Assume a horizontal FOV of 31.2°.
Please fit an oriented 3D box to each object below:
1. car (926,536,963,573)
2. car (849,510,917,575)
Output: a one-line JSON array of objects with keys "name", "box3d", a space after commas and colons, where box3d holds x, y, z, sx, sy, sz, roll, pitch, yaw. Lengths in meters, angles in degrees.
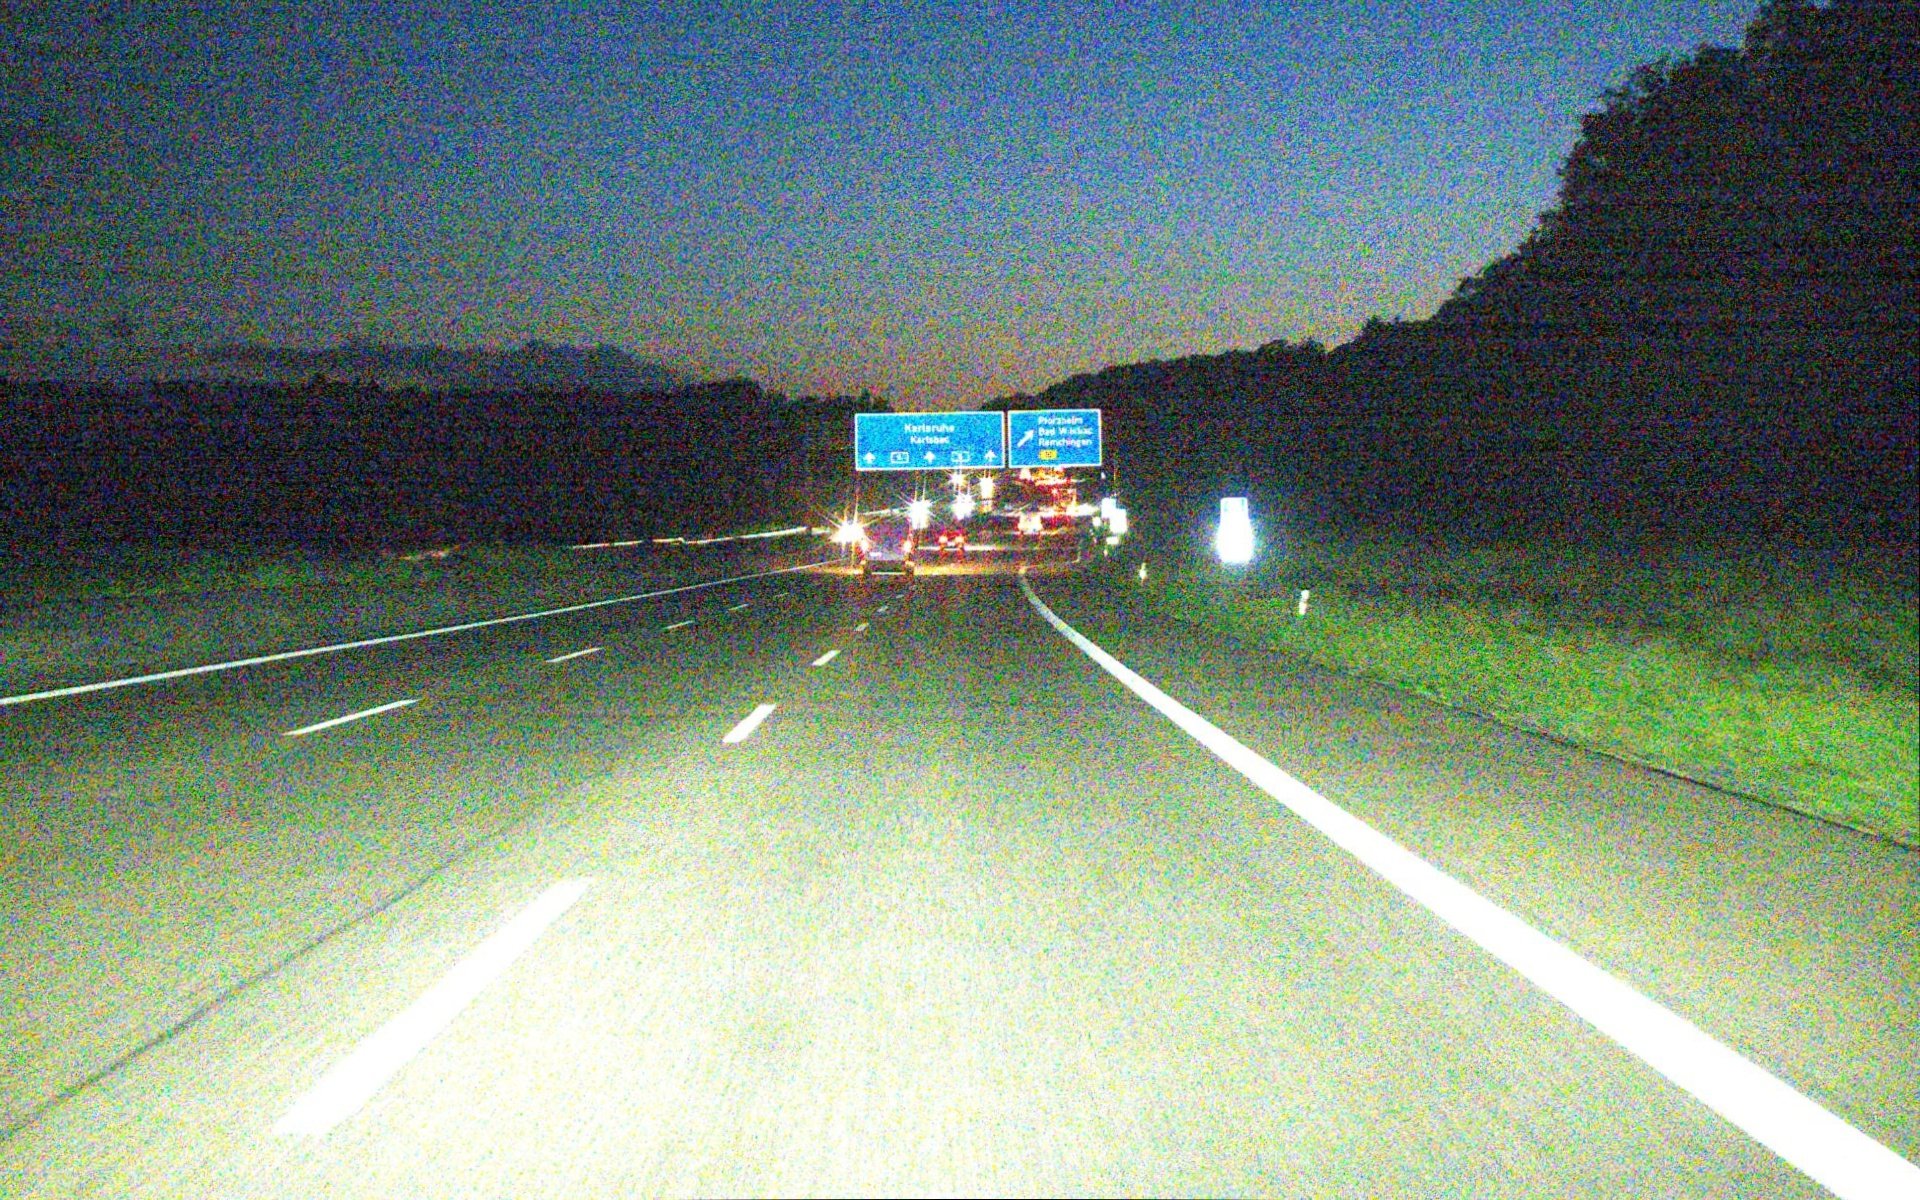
[{"name": "car", "box3d": [-1.186, -3.435, 261.359, 2.786, 2.724, 6.299, 0, 0, -1]}, {"name": "car", "box3d": [-3.233, -2.417, 146.026, 2.786, 2.724, 6.299, 0, 0, -1]}]
